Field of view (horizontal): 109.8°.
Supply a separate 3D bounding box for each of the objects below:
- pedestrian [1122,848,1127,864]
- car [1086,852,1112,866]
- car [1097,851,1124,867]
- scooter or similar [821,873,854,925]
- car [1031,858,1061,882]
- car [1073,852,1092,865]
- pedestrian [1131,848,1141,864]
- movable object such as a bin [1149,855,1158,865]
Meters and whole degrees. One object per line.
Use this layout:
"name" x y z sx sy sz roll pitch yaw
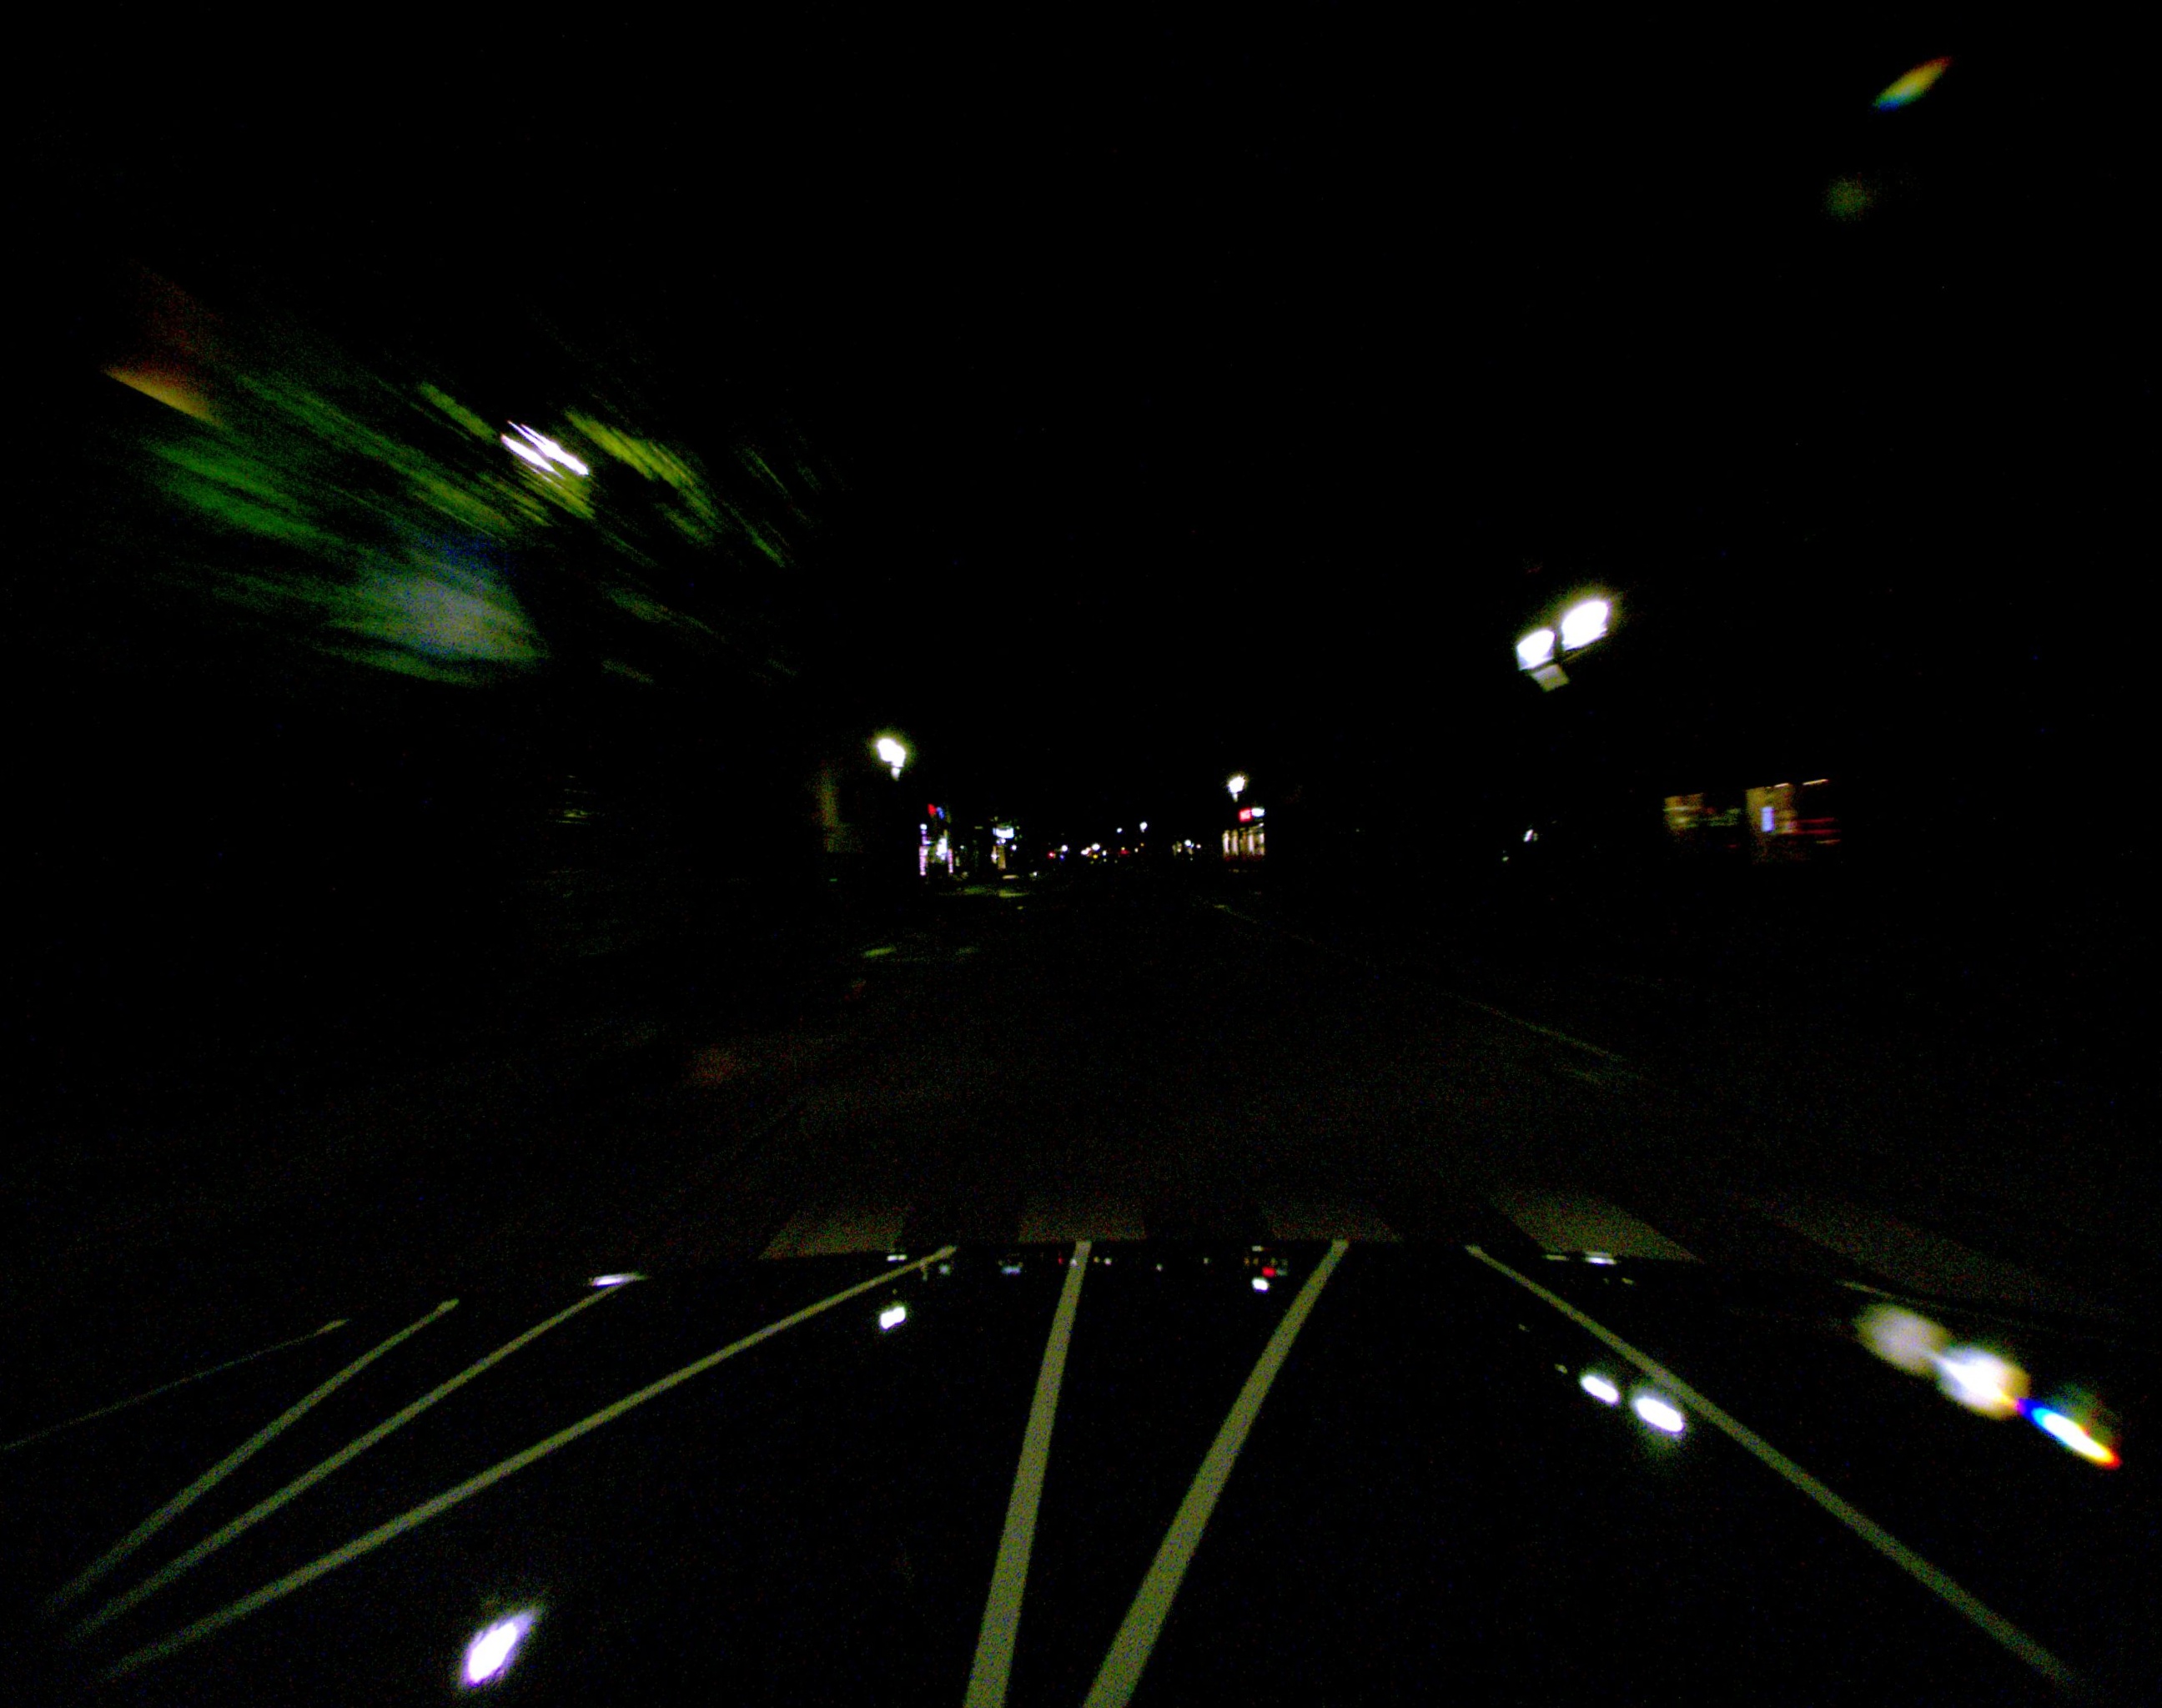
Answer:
"pedestrian" 5.011 0.209 88.488 0.502 1.811 0.503 -2 2 5
"car" 2.099 0.608 89.121 1.912 1.533 4.777 -3 0 -12
"car" 3.175 0.531 82.696 1.765 1.628 4.810 -2 0 -11
"scooter or similar" -6.511 1.182 20.389 0.374 1.269 1.305 -2 1 2
"car" -2.291 0.989 49.238 1.739 1.432 4.495 -2 0 -4
"car" 0.219 0.514 99.577 1.776 1.565 4.479 -4 1 -8
"pedestrian" 6.395 0.230 88.414 0.793 1.807 1.024 -4 1 14
"movable object such as a bin" 7.400 0.612 77.836 0.749 1.059 0.791 -2 2 -10
